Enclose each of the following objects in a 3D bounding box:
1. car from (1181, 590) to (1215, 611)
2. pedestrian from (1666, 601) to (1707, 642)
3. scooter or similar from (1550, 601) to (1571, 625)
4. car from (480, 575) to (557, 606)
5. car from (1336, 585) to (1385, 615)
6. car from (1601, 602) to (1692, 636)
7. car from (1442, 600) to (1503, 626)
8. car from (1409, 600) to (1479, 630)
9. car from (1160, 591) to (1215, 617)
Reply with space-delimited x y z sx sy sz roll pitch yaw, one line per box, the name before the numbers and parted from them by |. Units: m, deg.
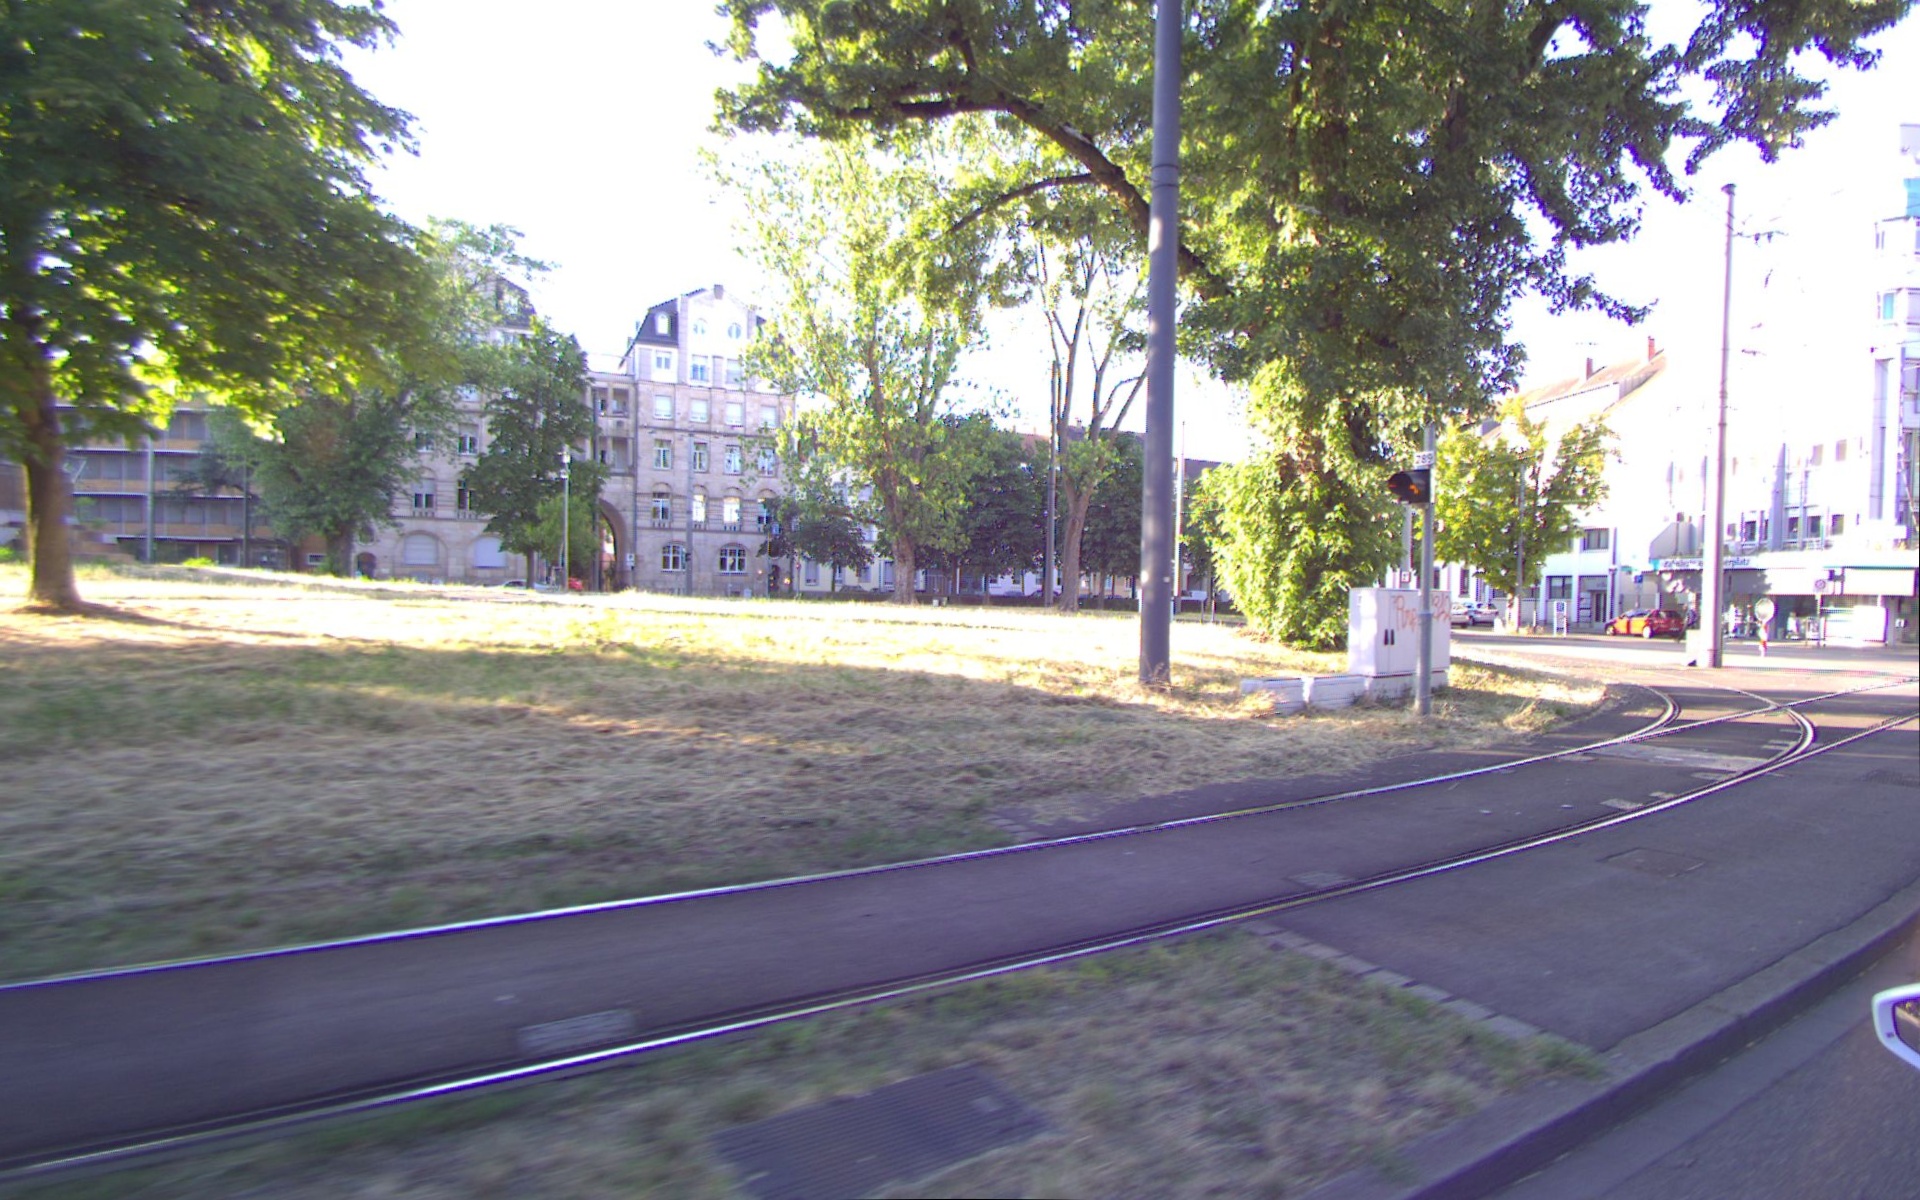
car | 24.131 0.040 101.875 1.963 2.041 3.994 2 1 -8
pedestrian | 31.647 0.907 43.756 1.139 1.725 0.908 2 1 14
scooter or similar | 38.046 0.831 63.666 0.740 1.417 1.927 2 2 21
car | -27.666 -0.597 63.046 3.920 1.818 2.000 2 2 1
car | 28.938 -0.006 72.653 1.960 2.041 4.000 2 1 2
car | 34.818 0.928 51.058 1.986 1.505 4.001 2 1 3
car | 33.845 0.863 66.472 1.961 1.550 3.999 2 1 0
car | 29.785 0.895 61.995 1.963 1.706 3.994 2 1 -8
car | 18.607 0.333 82.258 3.943 2.041 1.989 1 1 -23
